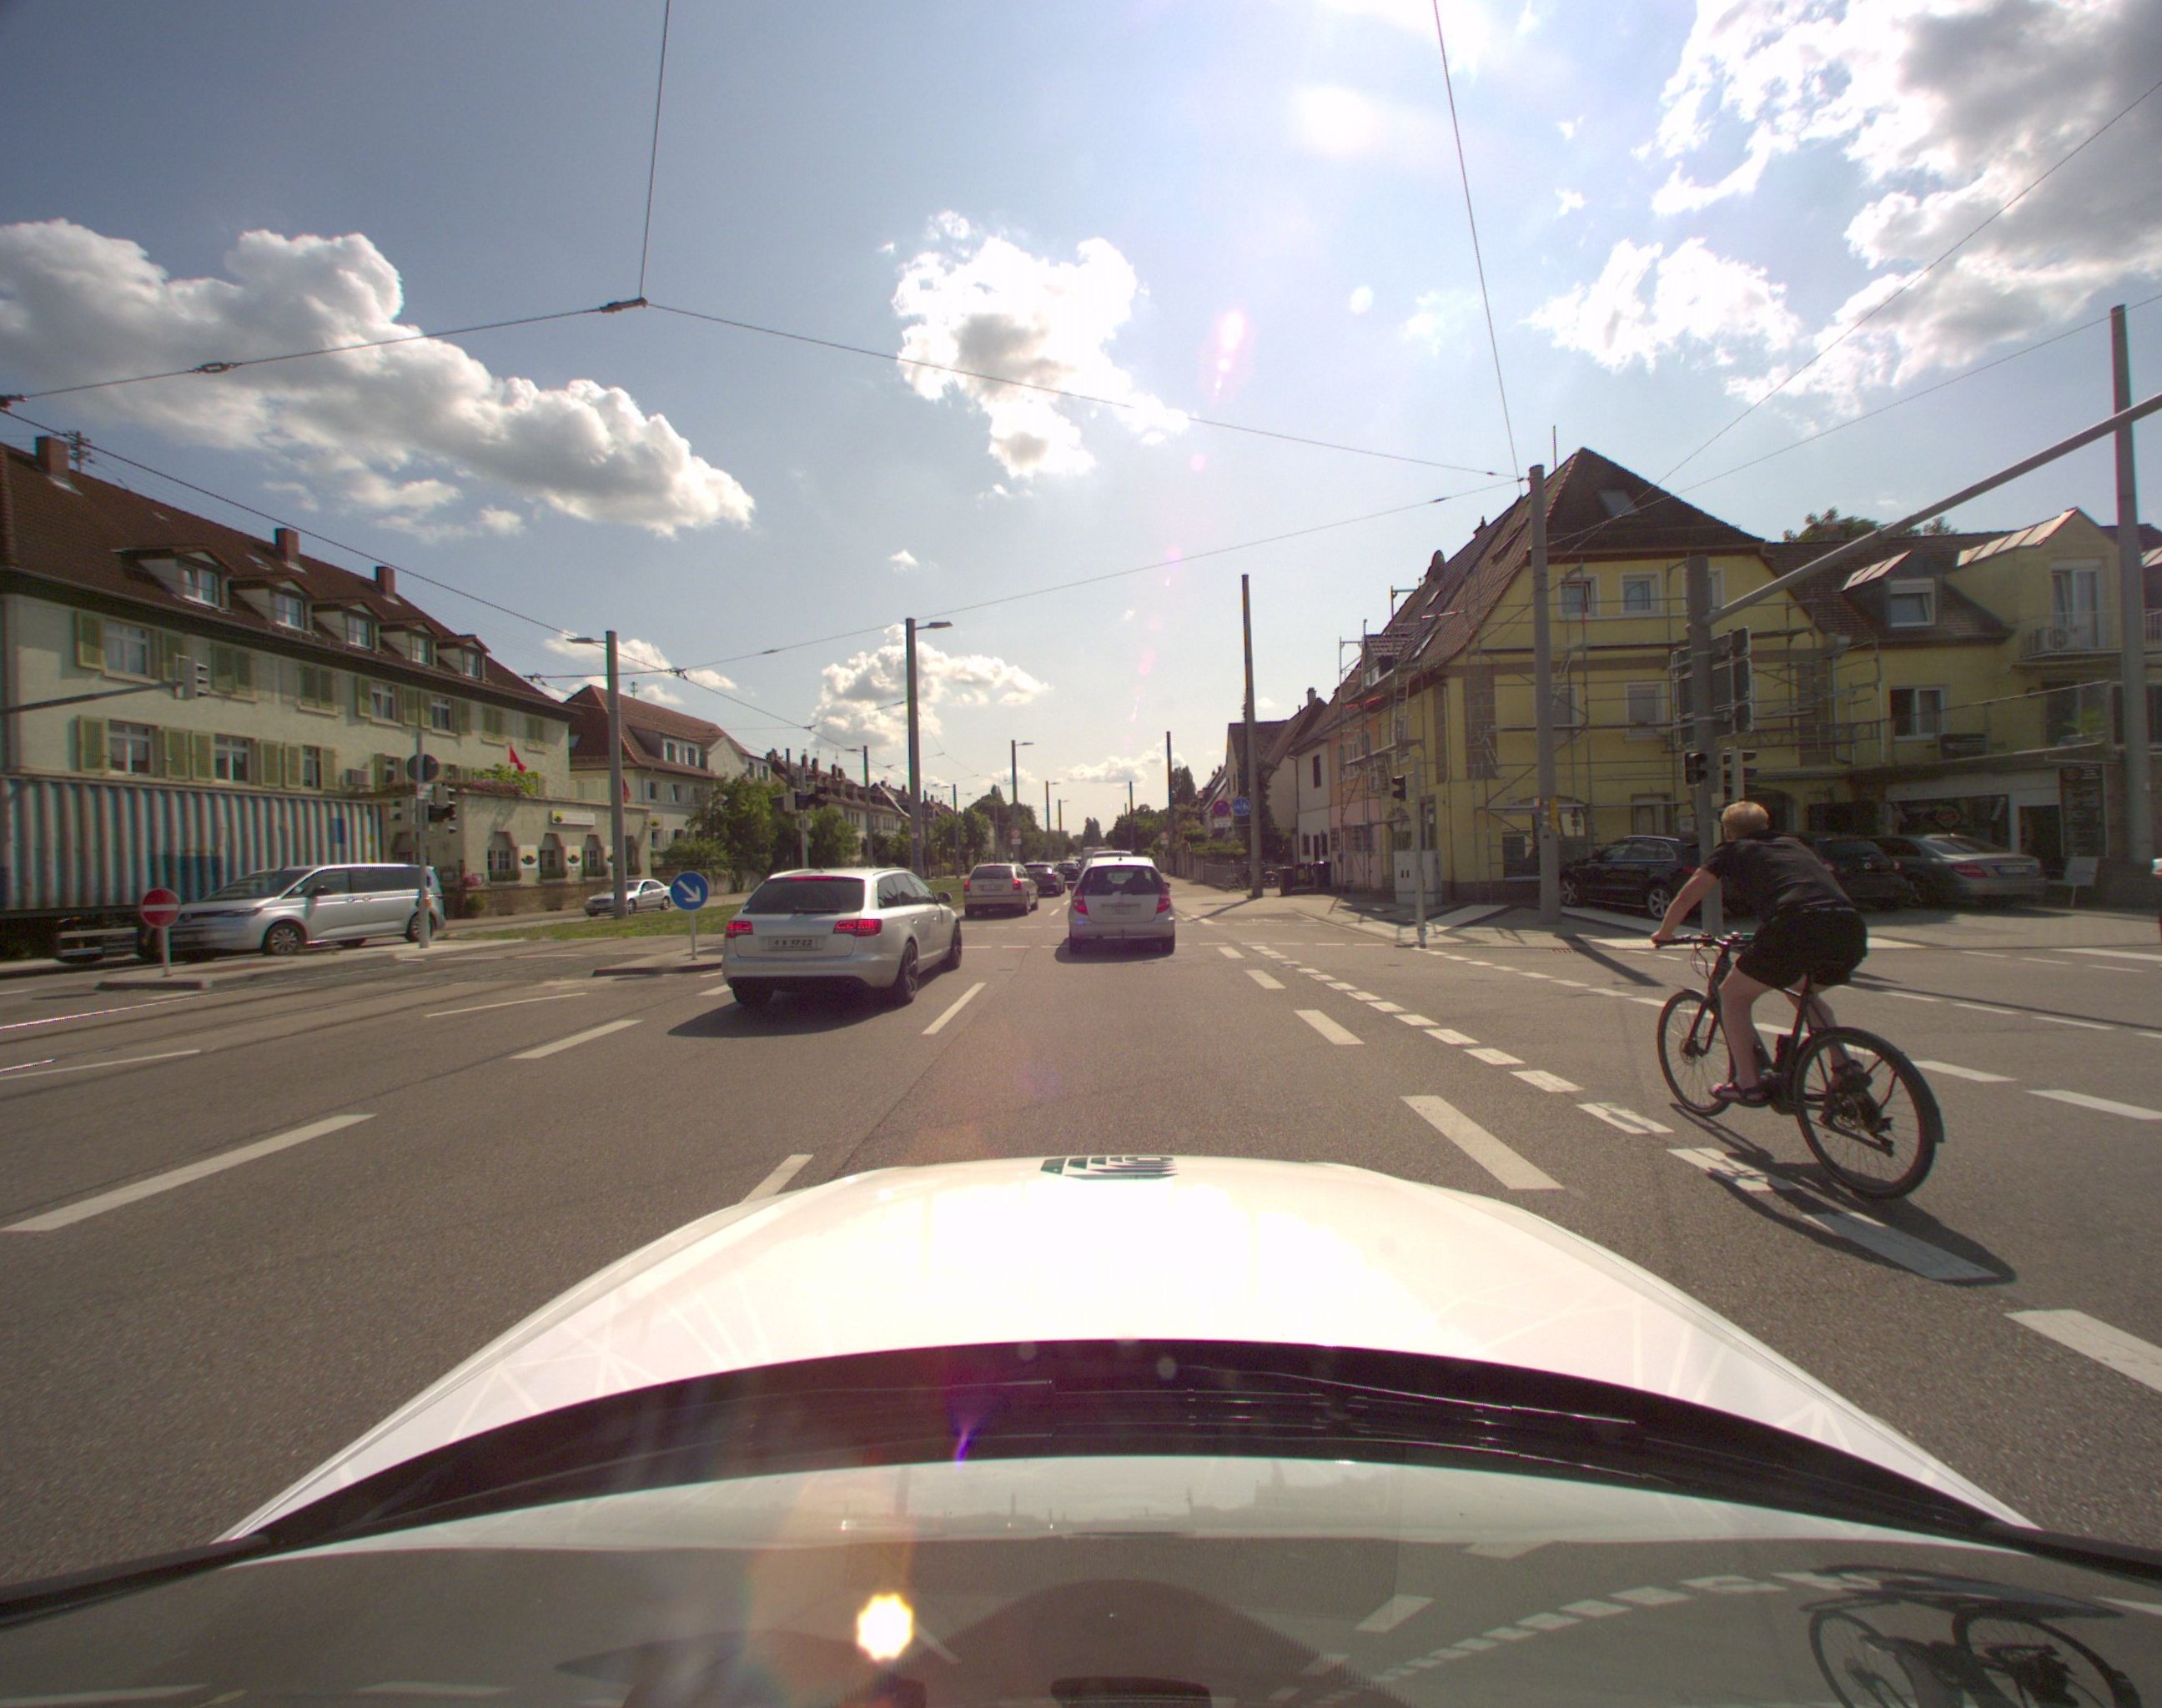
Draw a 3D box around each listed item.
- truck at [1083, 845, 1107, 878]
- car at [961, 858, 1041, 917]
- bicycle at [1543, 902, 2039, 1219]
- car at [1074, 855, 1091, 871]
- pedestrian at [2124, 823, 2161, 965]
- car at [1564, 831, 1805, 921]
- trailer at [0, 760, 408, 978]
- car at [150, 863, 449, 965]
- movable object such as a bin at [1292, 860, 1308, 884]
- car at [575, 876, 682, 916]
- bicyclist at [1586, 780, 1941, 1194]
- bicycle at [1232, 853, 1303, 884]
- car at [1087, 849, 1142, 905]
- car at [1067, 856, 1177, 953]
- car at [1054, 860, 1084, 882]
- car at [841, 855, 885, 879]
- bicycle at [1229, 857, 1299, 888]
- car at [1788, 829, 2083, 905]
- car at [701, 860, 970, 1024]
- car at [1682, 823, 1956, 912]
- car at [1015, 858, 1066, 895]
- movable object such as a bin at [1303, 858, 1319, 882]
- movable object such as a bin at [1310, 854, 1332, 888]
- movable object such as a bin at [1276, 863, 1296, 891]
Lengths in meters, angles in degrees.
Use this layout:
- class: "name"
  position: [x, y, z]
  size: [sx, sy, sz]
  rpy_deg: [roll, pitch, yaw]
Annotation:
- class: "truck"
  position: [1.109, 0.609, 65.575]
  size: [1.846, 2.552, 5.854]
  rpy_deg: [-1, 0, 0]
- class: "car"
  position: [-2.196, 0.882, 23.408]
  size: [1.724, 1.449, 4.125]
  rpy_deg: [-1, 1, 2]
- class: "bicycle"
  position: [3.382, 0.877, 4.222]
  size: [0.825, 1.075, 1.971]
  rpy_deg: [-3, 1, 1]
- class: "car"
  position: [0.189, 1.015, 93.517]
  size: [1.846, 1.843, 3.918]
  rpy_deg: [-1, 0, 0]
- class: "pedestrian"
  position: [12.713, 0.465, 9.548]
  size: [0.403, 1.643, 0.543]
  rpy_deg: [0, -1, -34]
- class: "car"
  position: [12.033, 0.402, 16.660]
  size: [1.986, 1.596, 4.133]
  rpy_deg: [-1, 0, 2]
- class: "trailer"
  position: [-20.124, 0.320, 15.697]
  size: [2.587, 3.821, 12.852]
  rpy_deg: [-4, 1, 4]
- class: "car"
  position: [-16.550, 1.154, 17.687]
  size: [1.788, 1.815, 4.714]
  rpy_deg: [-3, 0, 2]
- class: "movable object such as a bin"
  position: [8.966, 0.726, 33.388]
  size: [0.466, 0.946, 0.558]
  rpy_deg: [-2, -1, 2]
- class: "car"
  position: [-18.969, 1.726, 34.400]
  size: [1.787, 1.387, 4.474]
  rpy_deg: [-3, 0, 3]
- class: "bicyclist"
  position: [3.363, 0.584, 4.155]
  size: [0.825, 1.793, 1.084]
  rpy_deg: [-3, 0, 1]
- class: "bicycle"
  position: [7.531, 0.599, 32.979]
  size: [2.652, 1.105, 0.786]
  rpy_deg: [-3, -1, 1]
- class: "car"
  position: [1.142, 0.735, 27.754]
  size: [1.723, 1.762, 4.019]
  rpy_deg: [-1, 0, 3]
- class: "car"
  position: [0.665, 0.806, 14.892]
  size: [1.724, 1.517, 4.016]
  rpy_deg: [-1, 0, 0]
- class: "car"
  position: [-0.752, 1.110, 54.126]
  size: [1.846, 1.388, 4.514]
  rpy_deg: [-1, 0, 0]
- class: "car"
  position: [-17.173, 1.000, 64.346]
  size: [2.007, 1.711, 4.937]
  rpy_deg: [-3, 0, 1]
- class: "bicycle"
  position: [7.561, 0.755, 33.728]
  size: [2.716, 1.119, 0.691]
  rpy_deg: [-3, -1, 1]
- class: "car"
  position: [17.266, 0.245, 16.814]
  size: [1.860, 1.351, 4.133]
  rpy_deg: [-1, 0, 2]
- class: "car"
  position: [-2.663, 0.855, 10.123]
  size: [1.788, 1.472, 4.723]
  rpy_deg: [-1, 0, 1]
- class: "car"
  position: [14.853, 0.261, 16.778]
  size: [1.986, 1.596, 4.133]
  rpy_deg: [-1, 0, 2]
- class: "car"
  position: [-1.739, 0.956, 36.020]
  size: [1.910, 1.477, 4.563]
  rpy_deg: [-1, 0, 1]
- class: "movable object such as a bin"
  position: [9.429, 0.648, 33.372]
  size: [0.466, 0.946, 0.558]
  rpy_deg: [-3, -1, 2]
- class: "movable object such as a bin"
  position: [8.133, 0.573, 27.630]
  size: [0.509, 1.105, 0.855]
  rpy_deg: [-2, -1, 2]
- class: "movable object such as a bin"
  position: [6.928, 0.769, 27.553]
  size: [0.509, 0.918, 0.742]
  rpy_deg: [-2, -1, 2]
